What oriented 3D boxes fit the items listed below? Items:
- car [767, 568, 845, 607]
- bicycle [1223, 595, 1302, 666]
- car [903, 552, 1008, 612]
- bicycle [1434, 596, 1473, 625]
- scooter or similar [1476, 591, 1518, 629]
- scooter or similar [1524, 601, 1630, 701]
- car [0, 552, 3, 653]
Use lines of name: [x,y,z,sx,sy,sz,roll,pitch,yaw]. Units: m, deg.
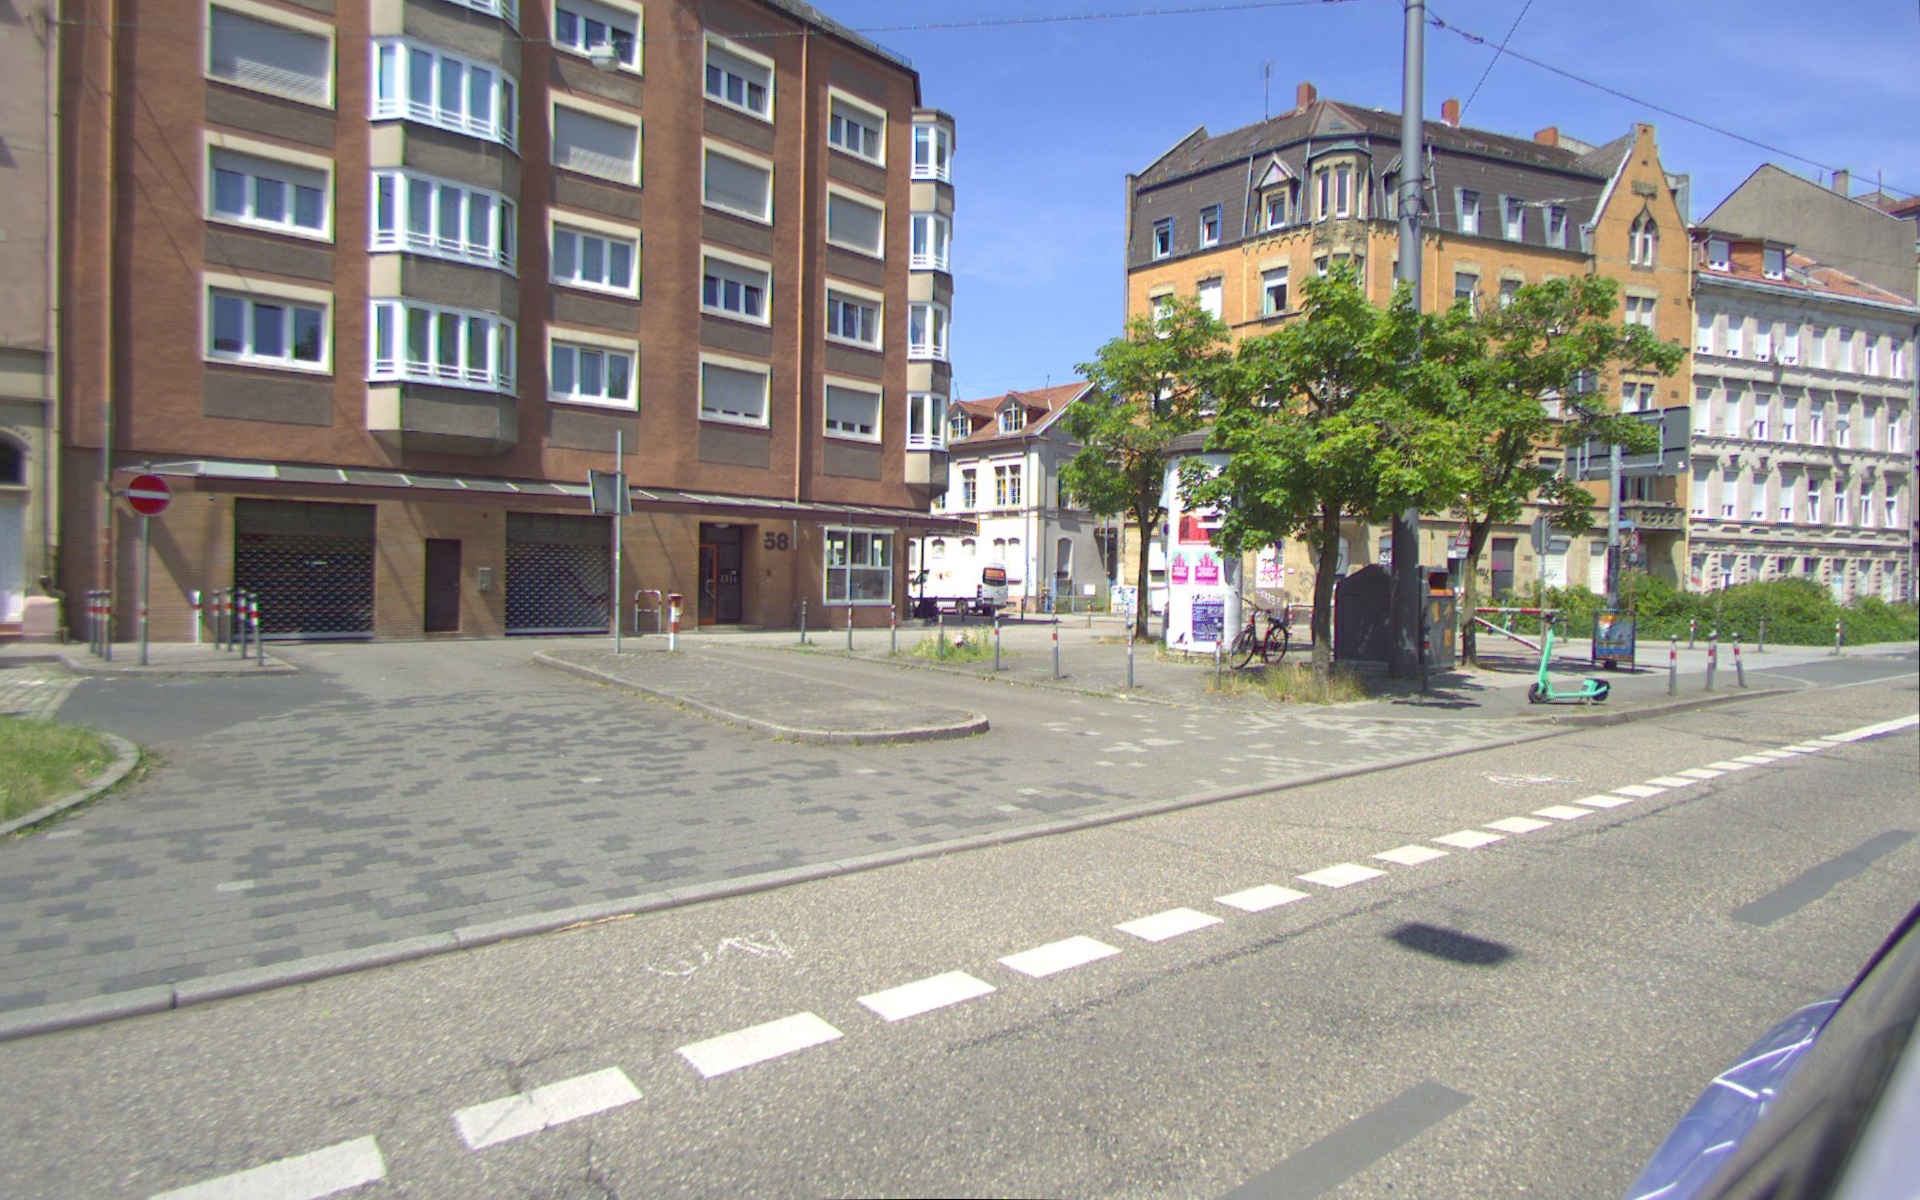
car: [-8.624,-0.706,56.266,1.966,2.061,4.818,0,0,-43]
bicycle: [5.175,0.493,17.276,1.679,1.167,0.487,0,0,-41]
car: [-0.278,-0.826,47.280,1.966,2.655,5.207,0,0,-43]
bicycle: [17.232,0.370,35.350,1.458,1.005,0.491,0,0,-29]
scooter or similar: [17.381,0.316,32.777,1.458,1.220,0.491,0,0,-29]
scooter or similar: [8.118,0.669,13.318,1.155,1.228,0.393,3,3,-14]
car: [-16.777,0.051,14.204,4.508,1.620,2.002,0,0,-31]
